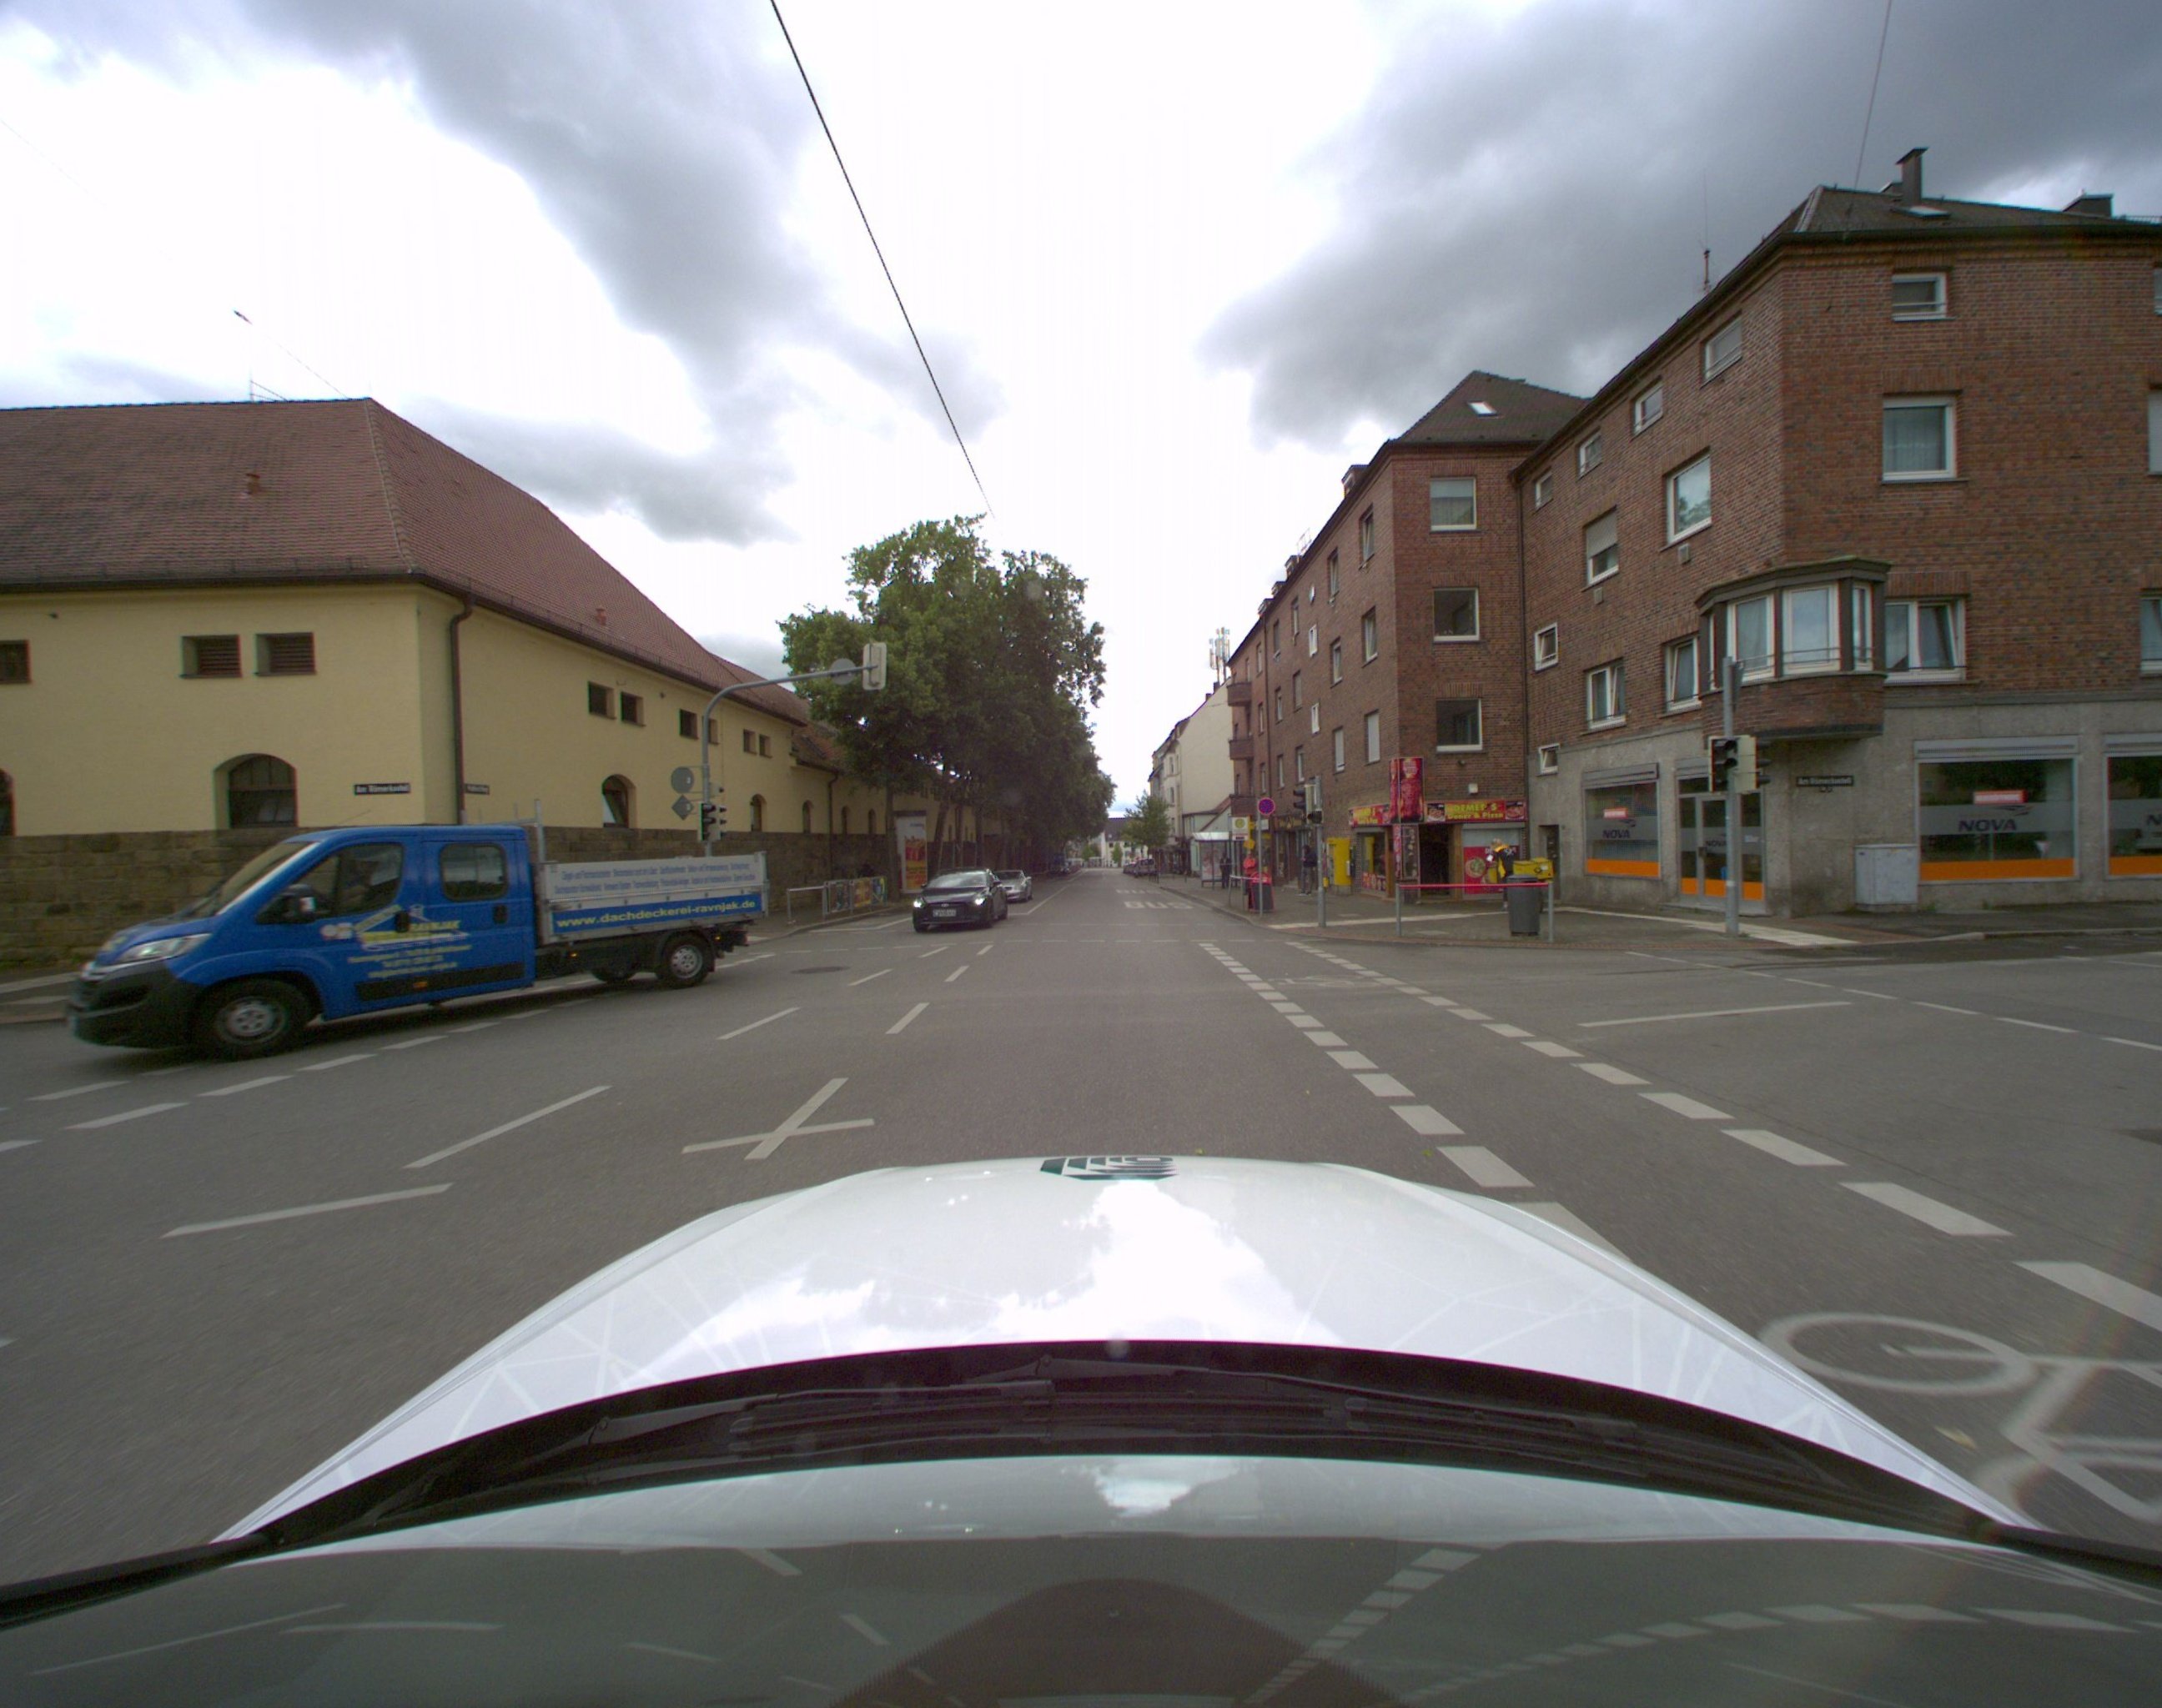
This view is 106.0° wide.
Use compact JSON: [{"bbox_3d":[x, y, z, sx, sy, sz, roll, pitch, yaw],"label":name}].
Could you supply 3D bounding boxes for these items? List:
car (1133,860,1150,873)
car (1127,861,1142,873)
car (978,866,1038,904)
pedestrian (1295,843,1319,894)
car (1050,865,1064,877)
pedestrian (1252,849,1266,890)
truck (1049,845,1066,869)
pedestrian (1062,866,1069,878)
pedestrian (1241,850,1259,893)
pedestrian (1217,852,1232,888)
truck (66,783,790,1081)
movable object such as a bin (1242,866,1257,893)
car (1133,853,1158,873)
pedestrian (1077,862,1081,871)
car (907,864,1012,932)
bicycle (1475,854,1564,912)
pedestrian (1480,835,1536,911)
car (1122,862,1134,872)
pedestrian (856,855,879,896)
[{"bbox_3d":[7.236,1.482,97.882,1.664,1.547,3.754,-1,0,-1],"label":"car"},{"bbox_3d":[7.054,1.674,107.515,1.664,1.547,3.754,-1,0,-1],"label":"car"},{"bbox_3d":[-2.830,1.188,32.335,1.678,1.275,4.098,-4,-1,3],"label":"car"},{"bbox_3d":[7.955,0.519,28.659,0.644,1.750,0.779,-1,-1,6],"label":"pedestrian"},{"bbox_3d":[-3.215,2.310,111.018,1.829,1.578,3.754,-1,0,-1],"label":"car"},{"bbox_3d":[7.776,0.682,35.637,0.477,1.765,0.458,-1,-1,1],"label":"pedestrian"},{"bbox_3d":[-3.419,0.463,120.345,2.223,3.346,7.449,-1,0,1],"label":"truck"},{"bbox_3d":[-1.933,2.242,101.234,0.676,1.536,0.605,-1,-1,-28],"label":"pedestrian"},{"bbox_3d":[6.563,0.668,31.611,0.560,1.637,0.684,-2,-1,21],"label":"pedestrian"},{"bbox_3d":[6.899,0.769,39.188,0.666,1.727,0.765,-1,-1,6],"label":"pedestrian"},{"bbox_3d":[-7.078,0.618,9.961,2.273,2.427,6.452,-3,-1,33],"label":"truck"},{"bbox_3d":[6.478,0.978,31.311,0.449,1.056,0.412,-2,-1,21],"label":"movable object such as a bin"},{"bbox_3d":[6.623,0.898,84.120,1.988,1.936,4.916,-1,0,-1],"label":"car"},{"bbox_3d":[-0.458,2.755,183.621,0.631,2.014,0.785,-1,-1,3],"label":"pedestrian"},{"bbox_3d":[-2.873,1.006,20.161,1.696,1.414,4.195,-3,0,3],"label":"car"},{"bbox_3d":[9.808,0.618,18.341,0.757,1.193,2.392,-1,0,1],"label":"bicycle"},{"bbox_3d":[9.748,0.423,18.631,0.785,1.656,0.772,-4,-1,1],"label":"pedestrian"},{"bbox_3d":[7.861,2.170,137.491,1.664,1.547,3.754,-1,0,-1],"label":"car"},{"bbox_3d":[-9.633,0.973,36.774,0.774,1.795,0.875,-1,-1,1],"label":"pedestrian"}]
